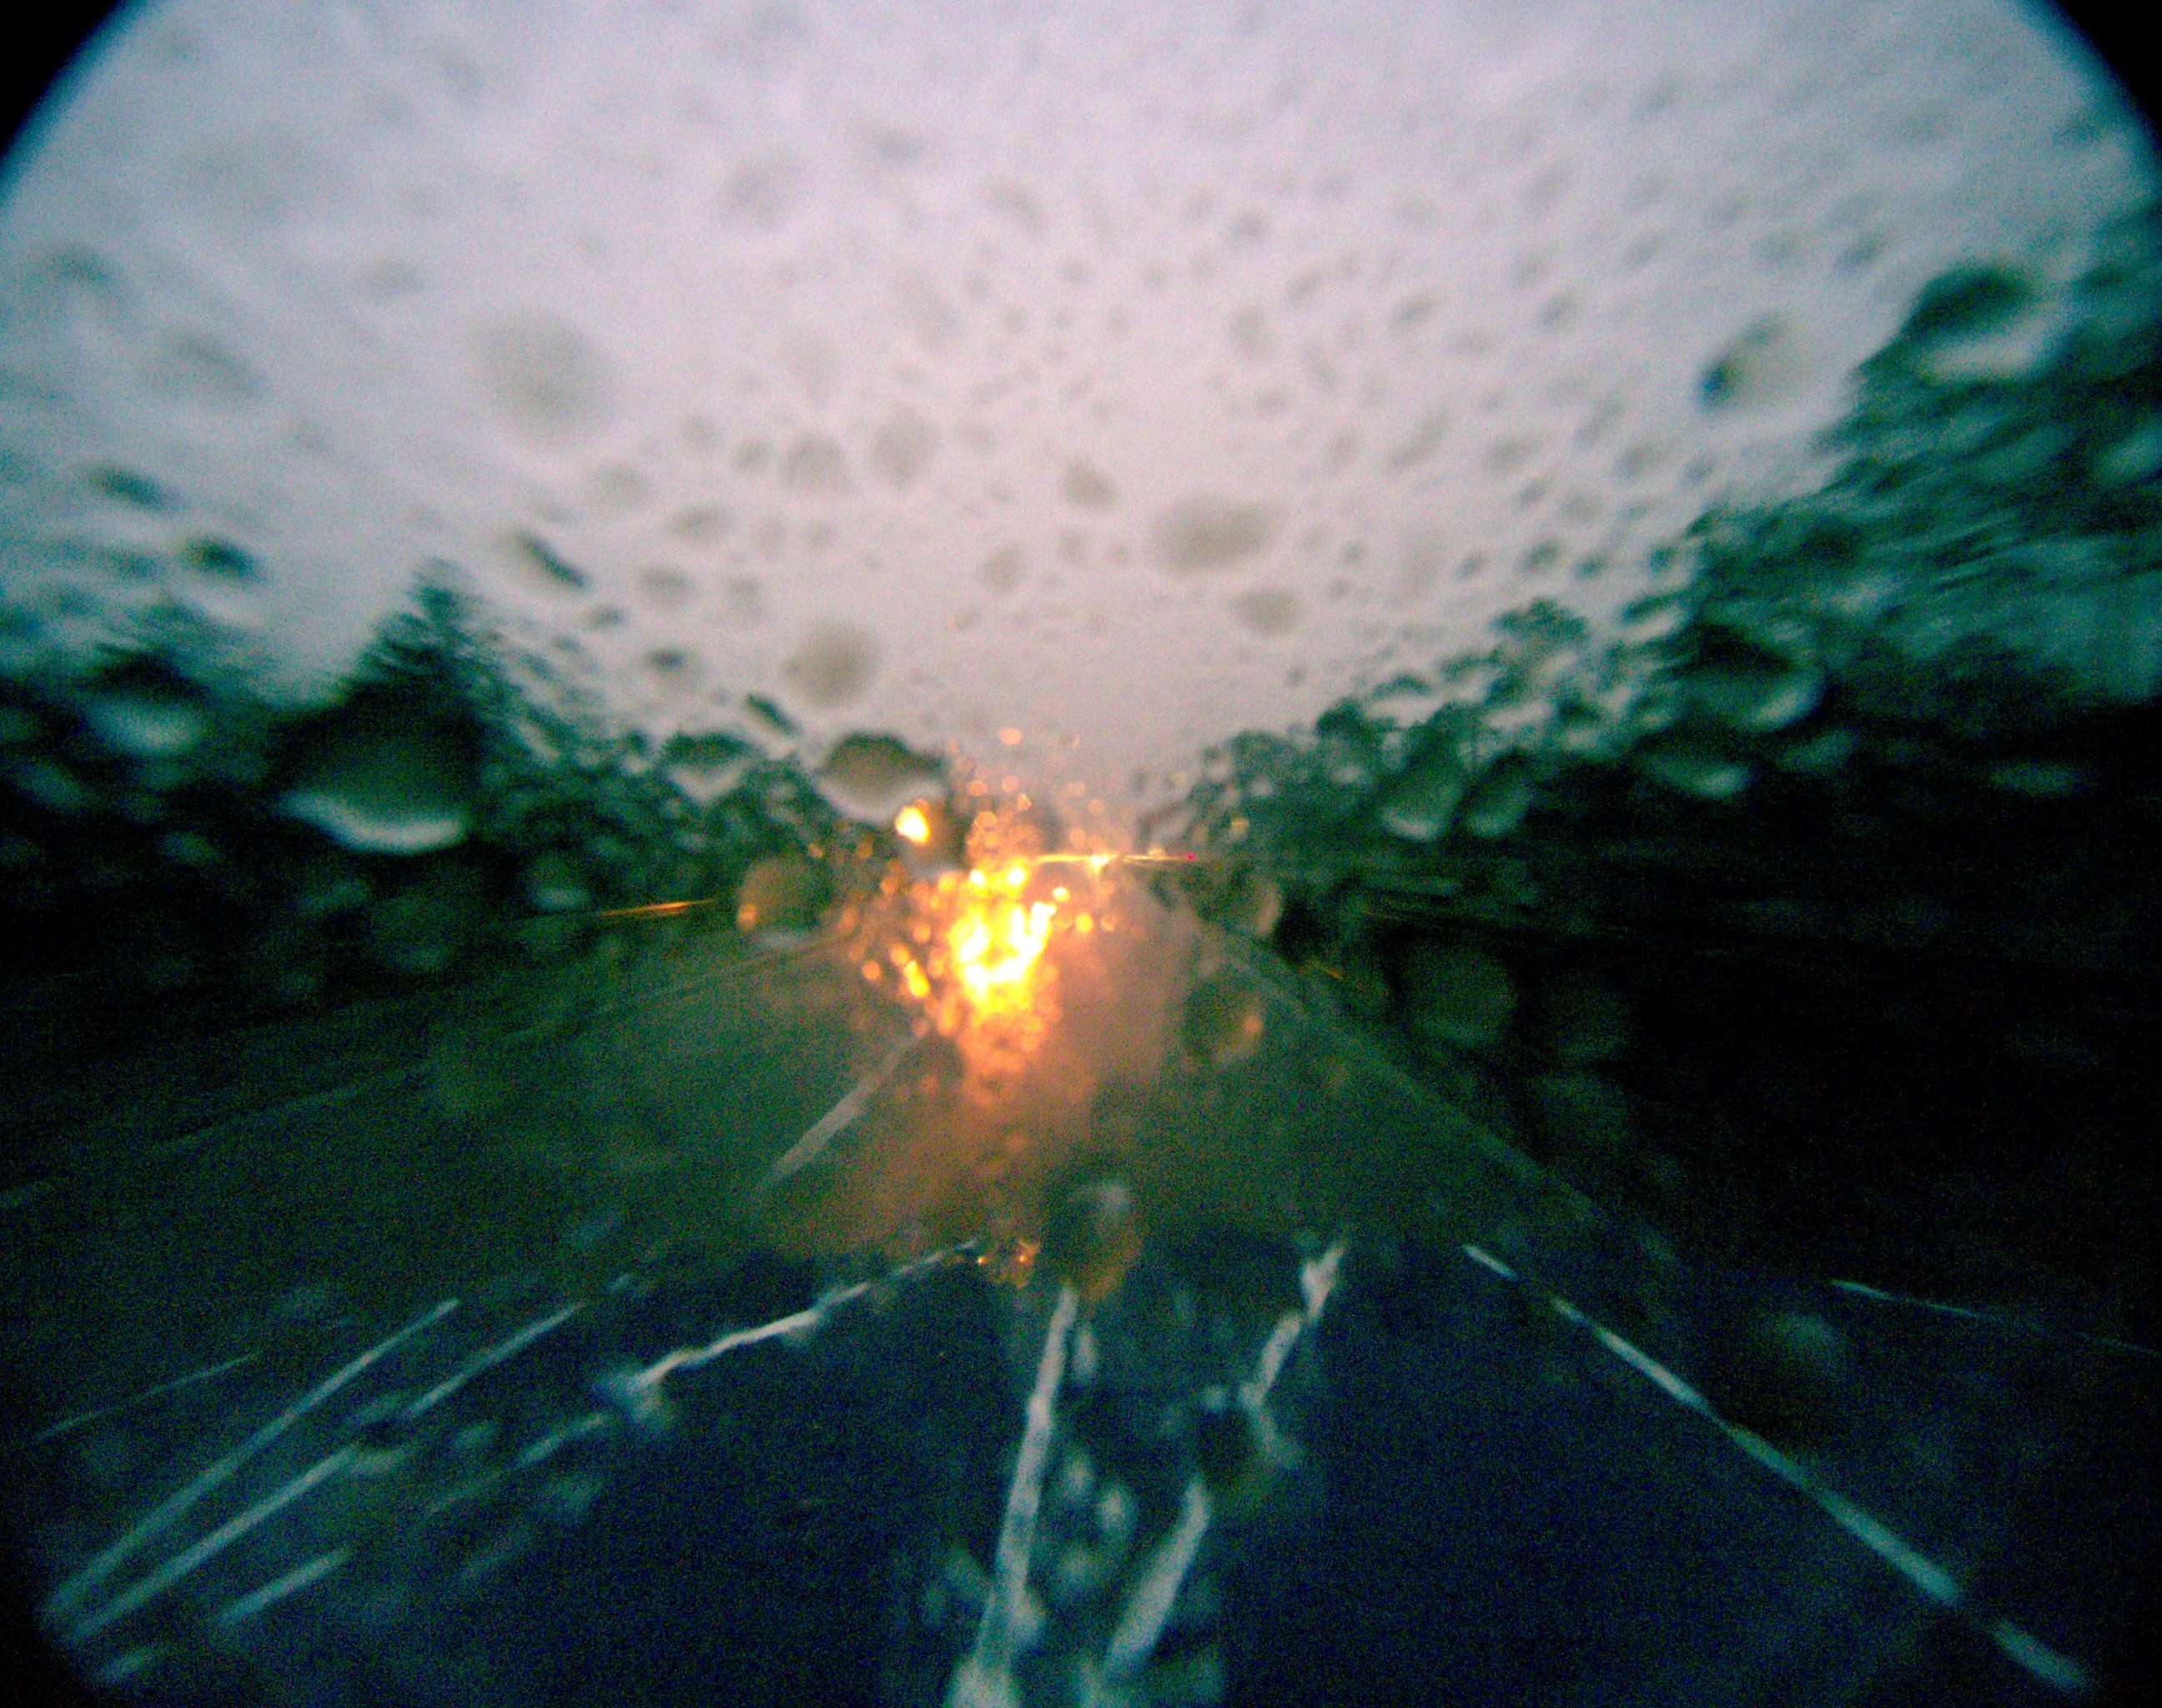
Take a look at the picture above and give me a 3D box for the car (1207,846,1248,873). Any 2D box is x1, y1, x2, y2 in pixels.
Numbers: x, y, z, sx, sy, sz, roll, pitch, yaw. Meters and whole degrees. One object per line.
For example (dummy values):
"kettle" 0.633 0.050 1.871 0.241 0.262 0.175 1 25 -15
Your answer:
"car" 8.941 0.313 46.588 1.681 1.485 4.258 -2 0 1

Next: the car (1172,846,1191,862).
"car" 10.071 -0.016 76.596 1.432 1.520 3.775 -2 0 1

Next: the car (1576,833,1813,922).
"car" 11.660 0.397 14.782 1.647 1.471 3.648 -2 0 0

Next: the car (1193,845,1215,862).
"car" 13.974 -0.095 86.346 1.988 1.796 4.000 -2 0 2

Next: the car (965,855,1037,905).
"car" -2.951 0.922 29.074 2.075 1.688 4.461 -2 0 2

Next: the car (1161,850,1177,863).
"car" 11.074 0.329 95.593 1.726 1.597 3.514 -2 0 3
